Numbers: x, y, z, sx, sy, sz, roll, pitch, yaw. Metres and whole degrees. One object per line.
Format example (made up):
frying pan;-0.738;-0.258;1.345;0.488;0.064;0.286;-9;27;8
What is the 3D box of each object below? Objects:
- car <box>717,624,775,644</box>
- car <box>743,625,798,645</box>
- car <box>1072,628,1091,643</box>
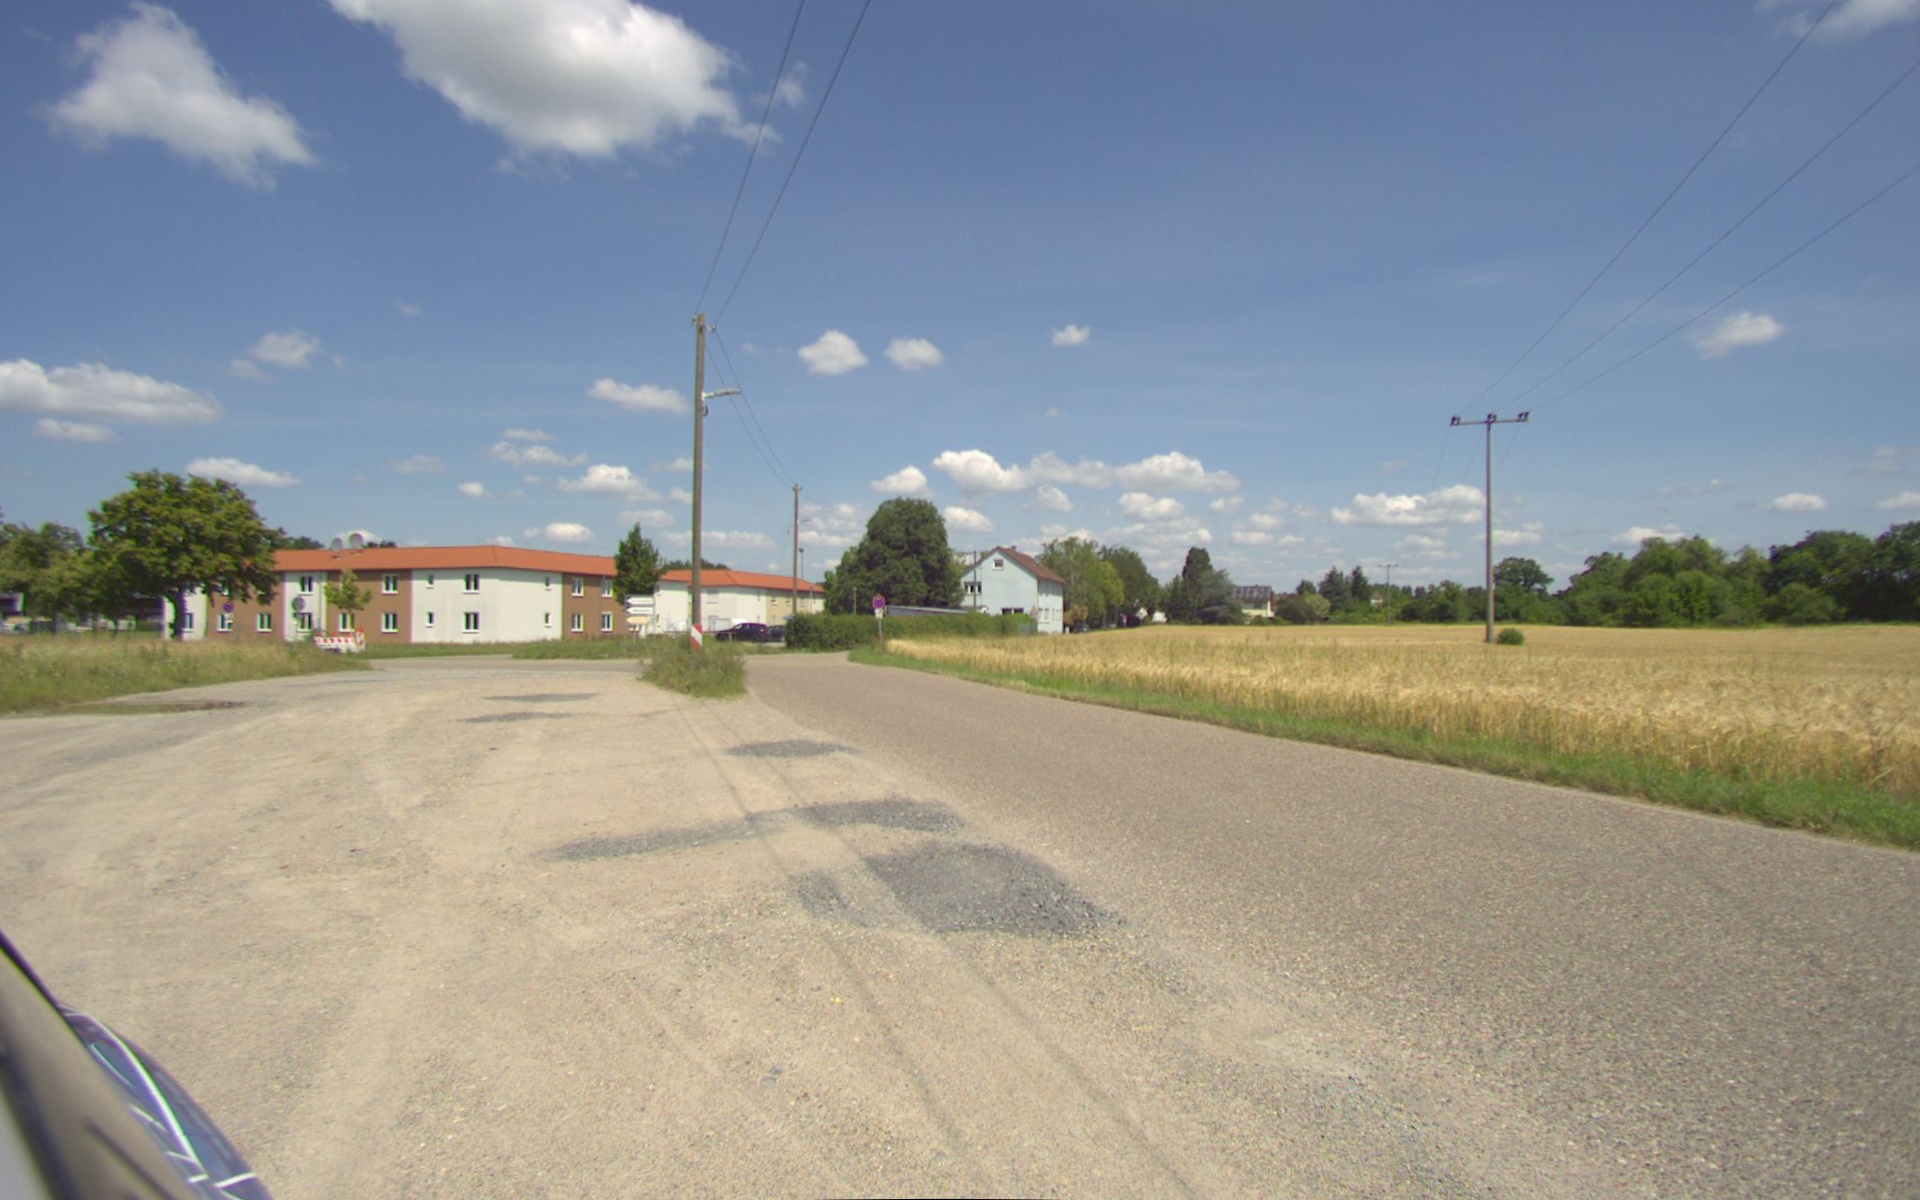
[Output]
car;-17.173;2.719;81.121;4.109;1.627;1.990;0;-2;15
car;-15.898;2.949;84.823;4.109;1.627;1.990;0;-2;15
car;15.344;4.468;127.398;1.734;1.692;4.233;-1;-1;16
